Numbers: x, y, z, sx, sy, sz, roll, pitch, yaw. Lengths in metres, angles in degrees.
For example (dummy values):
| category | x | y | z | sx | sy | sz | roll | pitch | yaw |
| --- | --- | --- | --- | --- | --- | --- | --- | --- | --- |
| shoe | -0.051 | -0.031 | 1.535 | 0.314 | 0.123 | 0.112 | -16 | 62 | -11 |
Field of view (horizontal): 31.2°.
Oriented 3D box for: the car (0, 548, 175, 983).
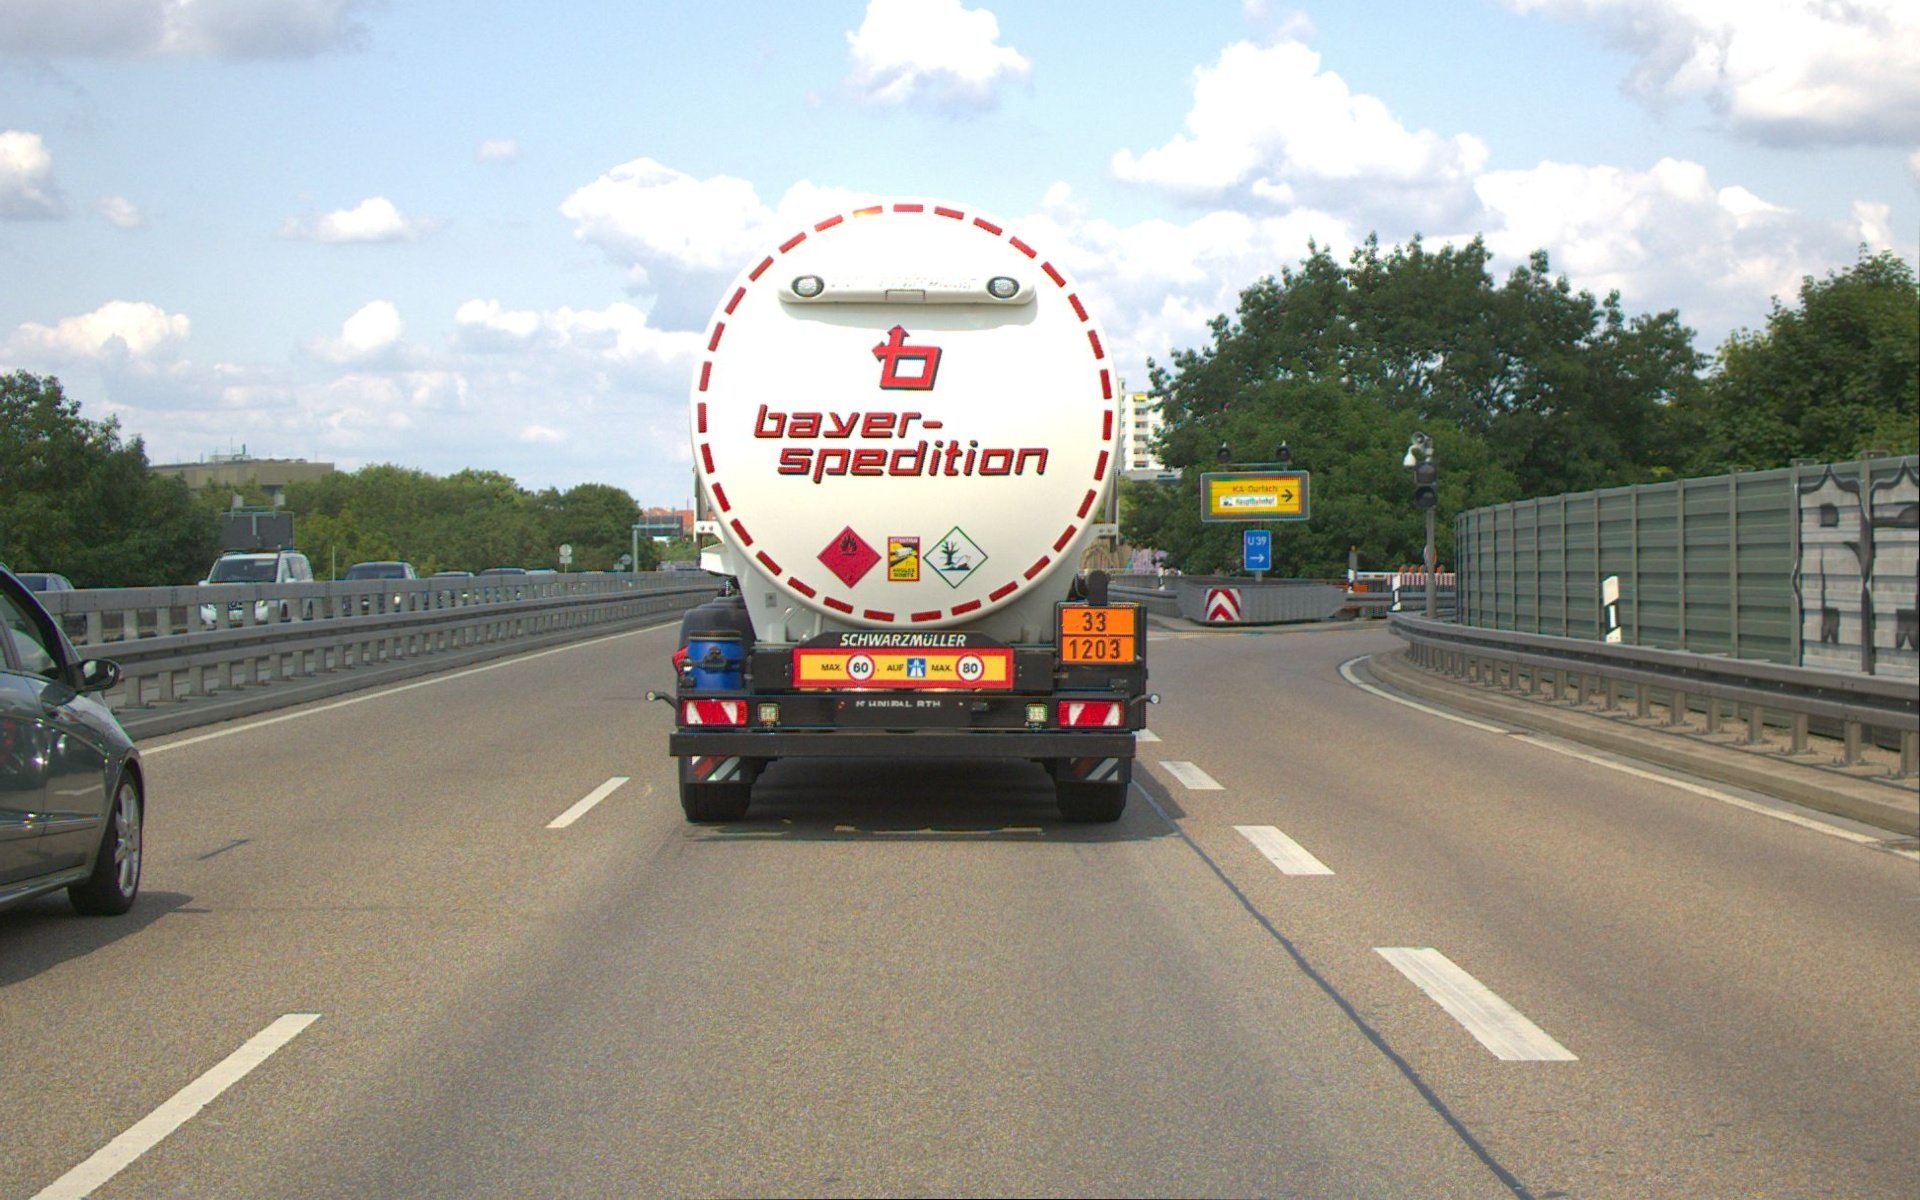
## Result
| category | x | y | z | sx | sy | sz | roll | pitch | yaw |
| --- | --- | --- | --- | --- | --- | --- | --- | --- | --- |
| car | -4.265 | 0.575 | 12.939 | 1.747 | 1.526 | 4.000 | 0 | 1 | -1 |

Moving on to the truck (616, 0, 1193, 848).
| category | x | y | z | sx | sy | sz | roll | pitch | yaw |
| --- | --- | --- | --- | --- | --- | --- | --- | --- | --- |
| truck | -0.360 | -0.959 | 21.584 | 2.895 | 4.354 | 8.030 | 1 | 0 | -1 |

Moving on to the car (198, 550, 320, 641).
| category | x | y | z | sx | sy | sz | roll | pitch | yaw |
| --- | --- | --- | --- | --- | --- | --- | --- | --- | --- |
| car | -15.999 | -0.134 | 78.664 | 1.960 | 1.918 | 5.192 | 1 | 1 | -3 |

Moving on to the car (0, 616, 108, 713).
| category | x | y | z | sx | sy | sz | roll | pitch | yaw |
| --- | --- | --- | --- | --- | --- | --- | --- | --- | --- |
| car | -16.433 | 1.117 | 60.413 | 1.923 | 1.568 | 4.245 | -2 | 1 | -2 |

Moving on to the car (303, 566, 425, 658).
| category | x | y | z | sx | sy | sz | roll | pitch | yaw |
| --- | --- | --- | --- | --- | --- | --- | --- | --- | --- |
| car | -12.420 | 0.225 | 71.864 | 1.993 | 1.850 | 4.239 | 1 | 0 | -3 |
